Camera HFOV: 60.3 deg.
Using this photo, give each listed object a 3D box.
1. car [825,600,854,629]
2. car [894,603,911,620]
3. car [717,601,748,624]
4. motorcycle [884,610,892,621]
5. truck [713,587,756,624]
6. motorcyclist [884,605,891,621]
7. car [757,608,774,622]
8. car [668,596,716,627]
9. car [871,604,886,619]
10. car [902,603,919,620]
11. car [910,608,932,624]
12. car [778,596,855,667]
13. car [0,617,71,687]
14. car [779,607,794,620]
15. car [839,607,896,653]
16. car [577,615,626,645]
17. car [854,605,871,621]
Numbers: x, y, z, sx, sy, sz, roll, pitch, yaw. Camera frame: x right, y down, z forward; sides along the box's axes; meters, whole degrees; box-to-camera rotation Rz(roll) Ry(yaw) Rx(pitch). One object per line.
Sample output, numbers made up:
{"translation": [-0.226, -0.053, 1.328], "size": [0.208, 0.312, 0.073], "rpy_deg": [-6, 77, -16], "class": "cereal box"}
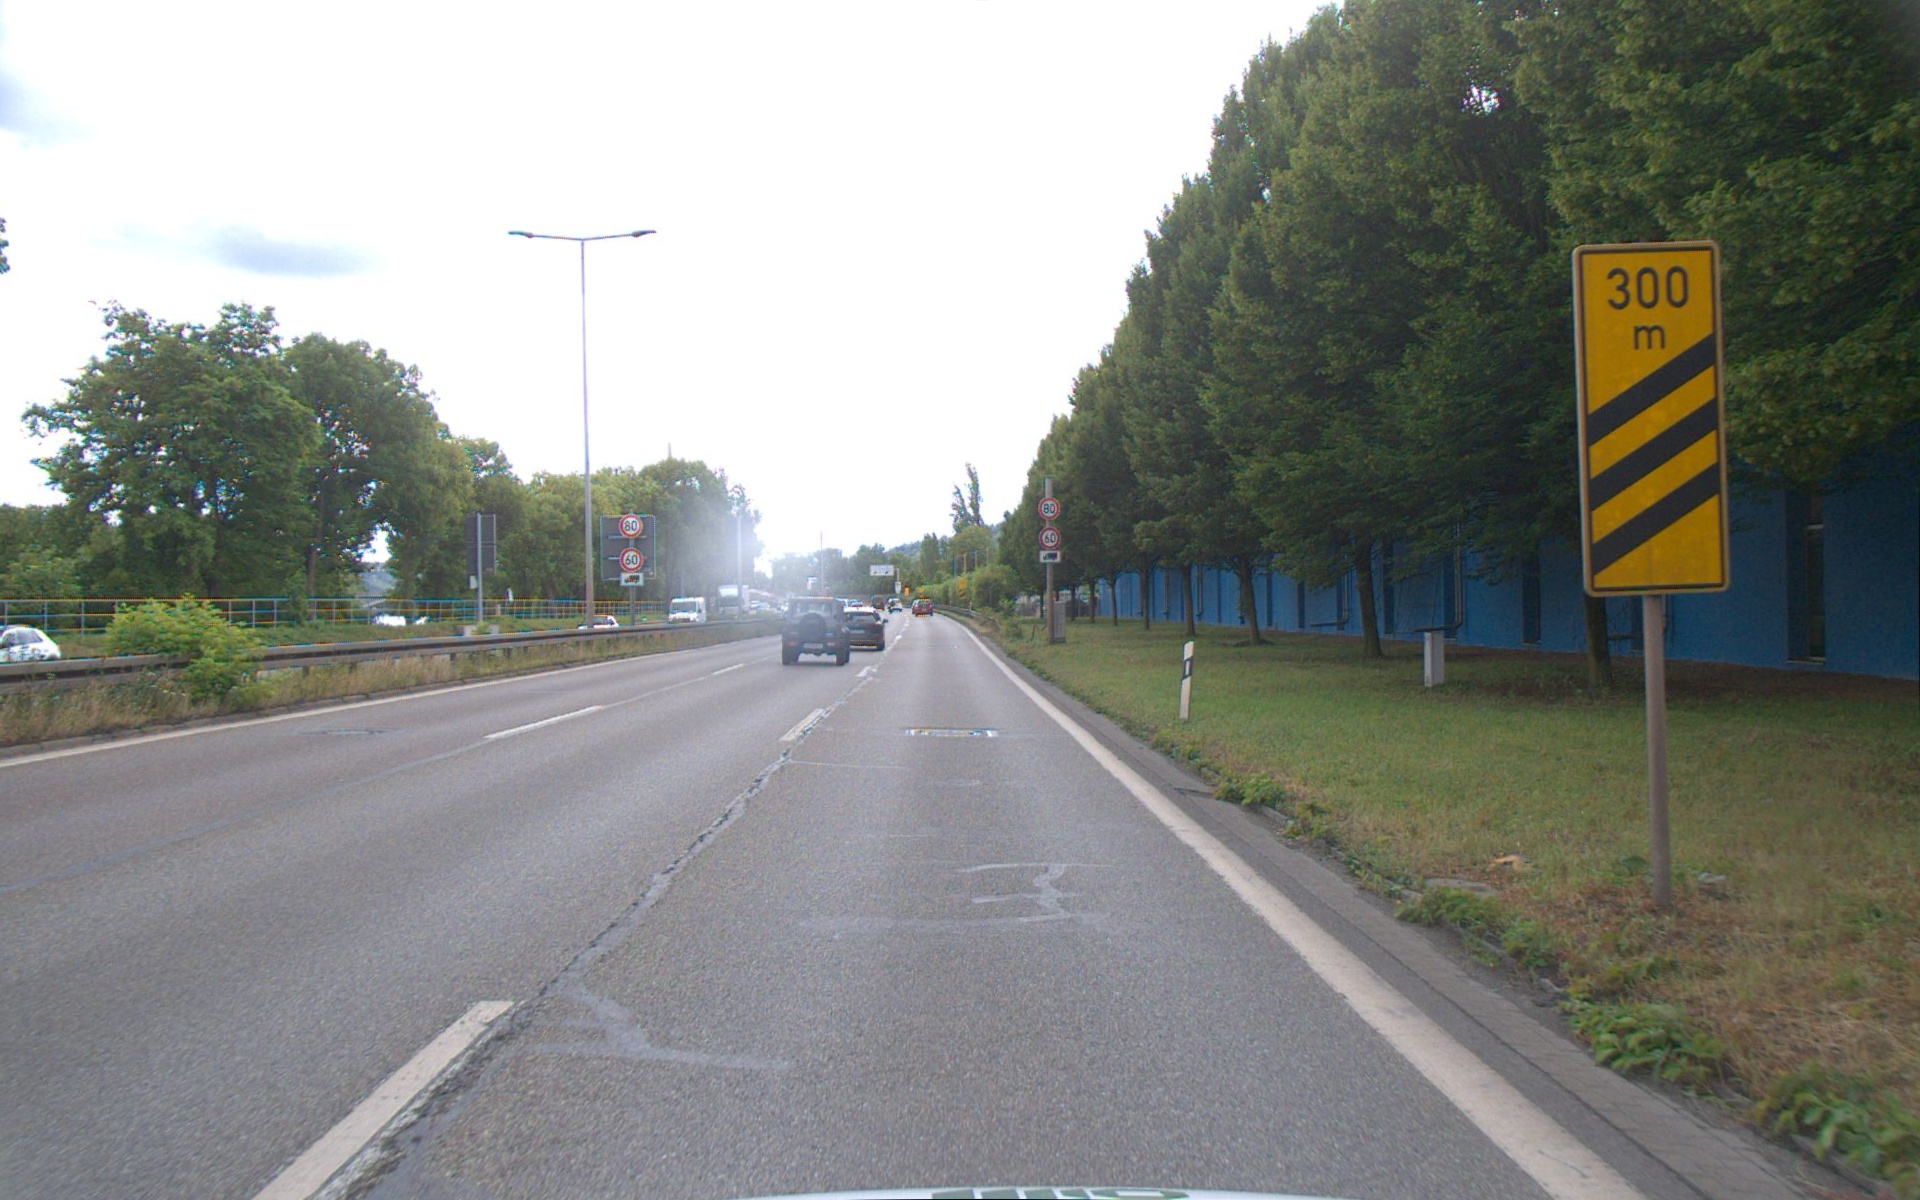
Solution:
{"translation": [-7.696, 0.899, 105.555], "size": [1.663, 1.772, 3.998], "rpy_deg": [-1, 0, -2], "class": "car"}
{"translation": [-7.316, 1.461, 210.356], "size": [1.973, 1.968, 4.898], "rpy_deg": [-2, 0, -2], "class": "car"}
{"translation": [-18.286, 0.983, 132.919], "size": [1.840, 1.755, 4.147], "rpy_deg": [0, 0, 1], "class": "car"}
{"translation": [-8.160, 1.737, 187.150], "size": [0.775, 1.240, 2.329], "rpy_deg": [0, 0, -1], "class": "motorcycle"}
{"translation": [-22.950, 0.547, 168.934], "size": [2.829, 3.641, 9.588], "rpy_deg": [-1, 0, 1], "class": "truck"}
{"translation": [-8.164, 1.426, 187.077], "size": [0.775, 1.791, 0.922], "rpy_deg": [0, 0, -2], "class": "motorcyclist"}
{"translation": [-25.829, 2.002, 219.540], "size": [1.691, 1.633, 4.041], "rpy_deg": [-3, 0, -1], "class": "car"}
{"translation": [-17.891, 0.736, 110.483], "size": [2.180, 1.982, 5.474], "rpy_deg": [-1, 0, 1], "class": "car"}
{"translation": [-11.092, 1.507, 225.852], "size": [1.973, 1.968, 4.898], "rpy_deg": [-2, 0, -2], "class": "car"}
{"translation": [-5.231, 1.182, 176.497], "size": [1.663, 1.772, 4.392], "rpy_deg": [-1, 0, 0], "class": "car"}
{"translation": [-3.709, 1.481, 156.072], "size": [1.935, 1.448, 4.898], "rpy_deg": [-2, 0, -2], "class": "car"}
{"translation": [-3.707, 0.775, 43.232], "size": [1.663, 1.715, 3.999], "rpy_deg": [2, 0, -1], "class": "car"}
{"translation": [-22.504, 1.193, 38.094], "size": [1.840, 1.516, 4.201], "rpy_deg": [0, 0, -1], "class": "car"}
{"translation": [-24.510, 1.899, 233.470], "size": [1.663, 1.633, 4.537], "rpy_deg": [-3, 0, -1], "class": "car"}
{"translation": [-3.158, 1.009, 57.219], "size": [1.808, 1.448, 4.898], "rpy_deg": [-2, 0, -2], "class": "car"}
{"translation": [-17.894, 1.474, 82.737], "size": [1.625, 1.423, 3.988], "rpy_deg": [0, 0, -1], "class": "car"}
{"translation": [-11.045, 1.488, 187.779], "size": [1.663, 1.772, 4.393], "rpy_deg": [-2, 0, 0], "class": "car"}
